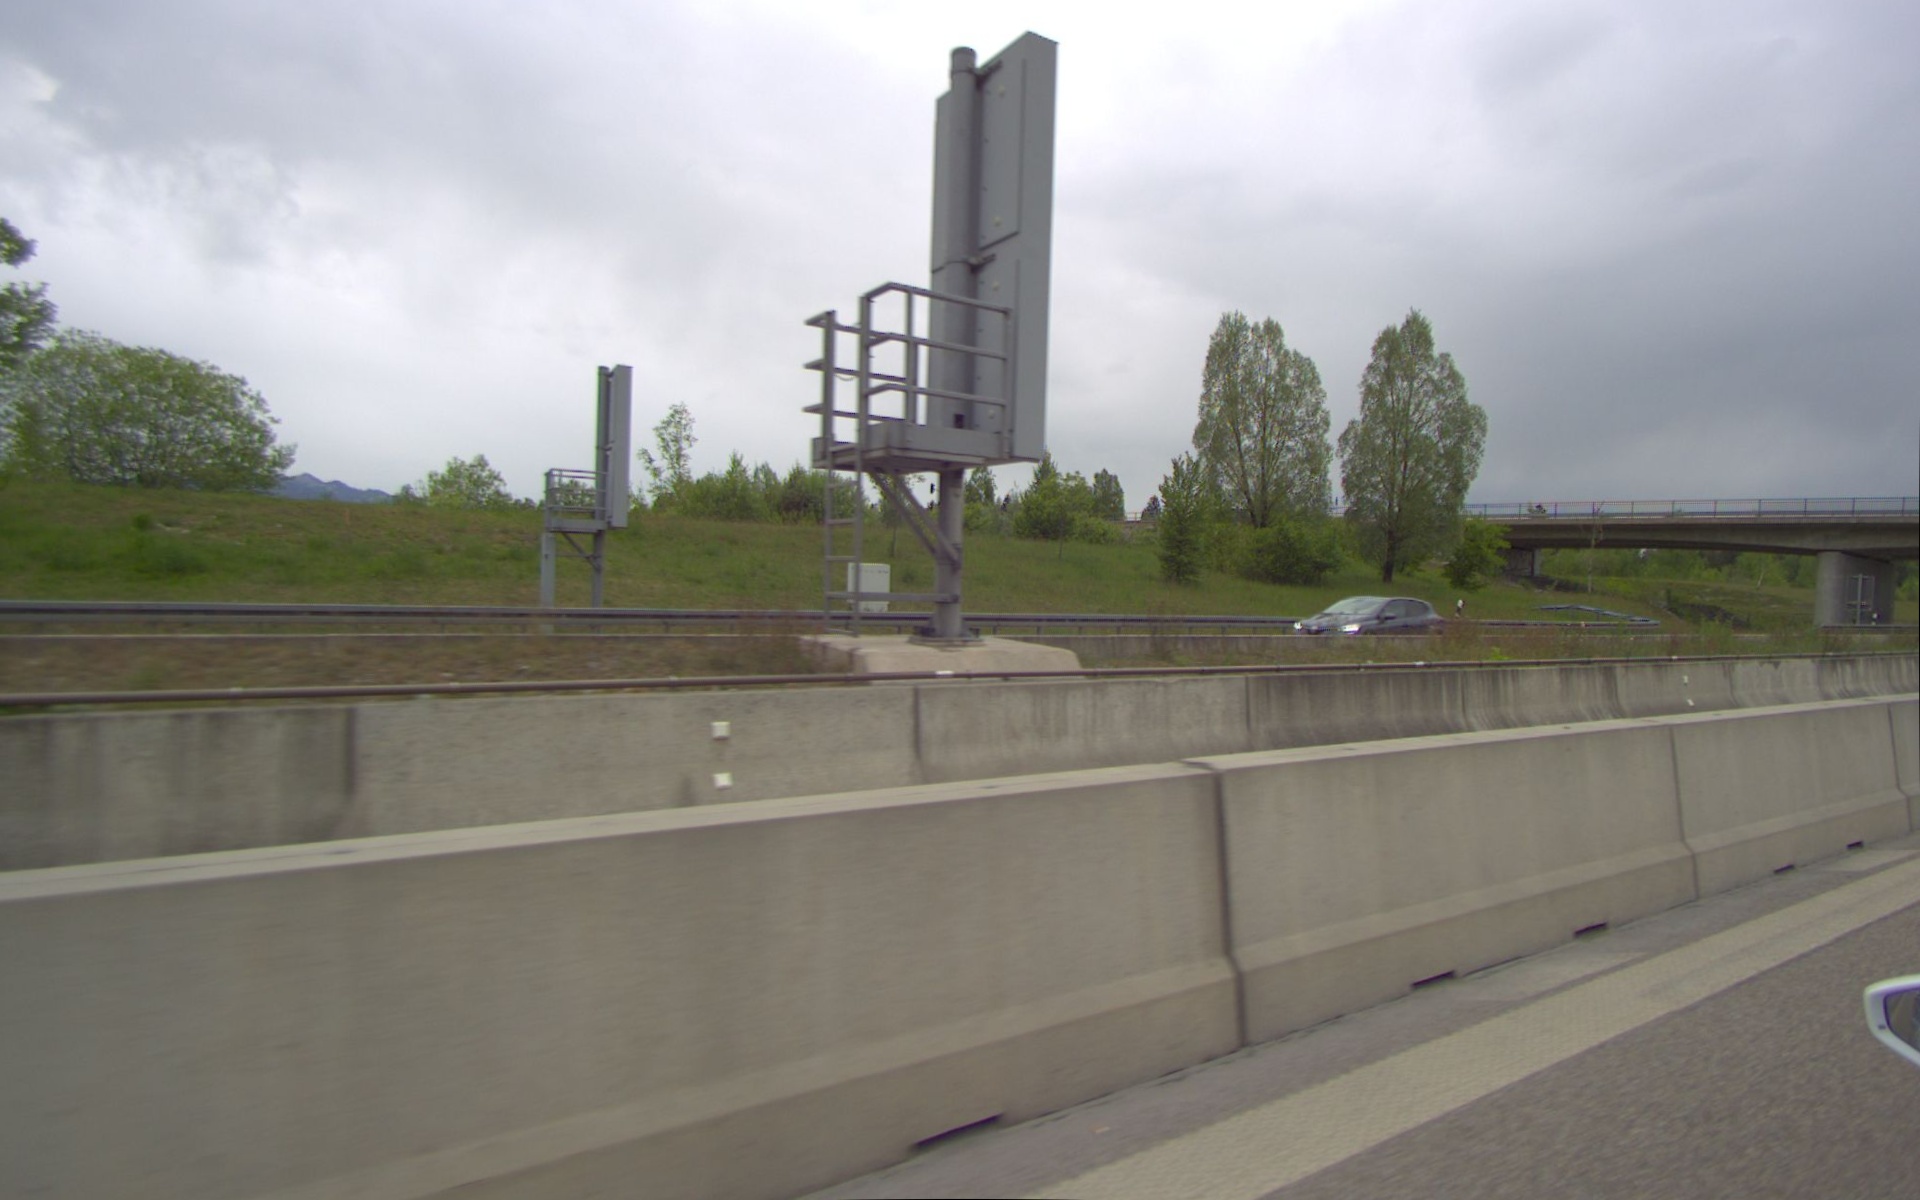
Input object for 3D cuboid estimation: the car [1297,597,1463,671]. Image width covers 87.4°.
[{"bbox_3d":[9.545,0.753,22.770,3.797,1.520,1.598,1,1,-33],"label":"car"}]
